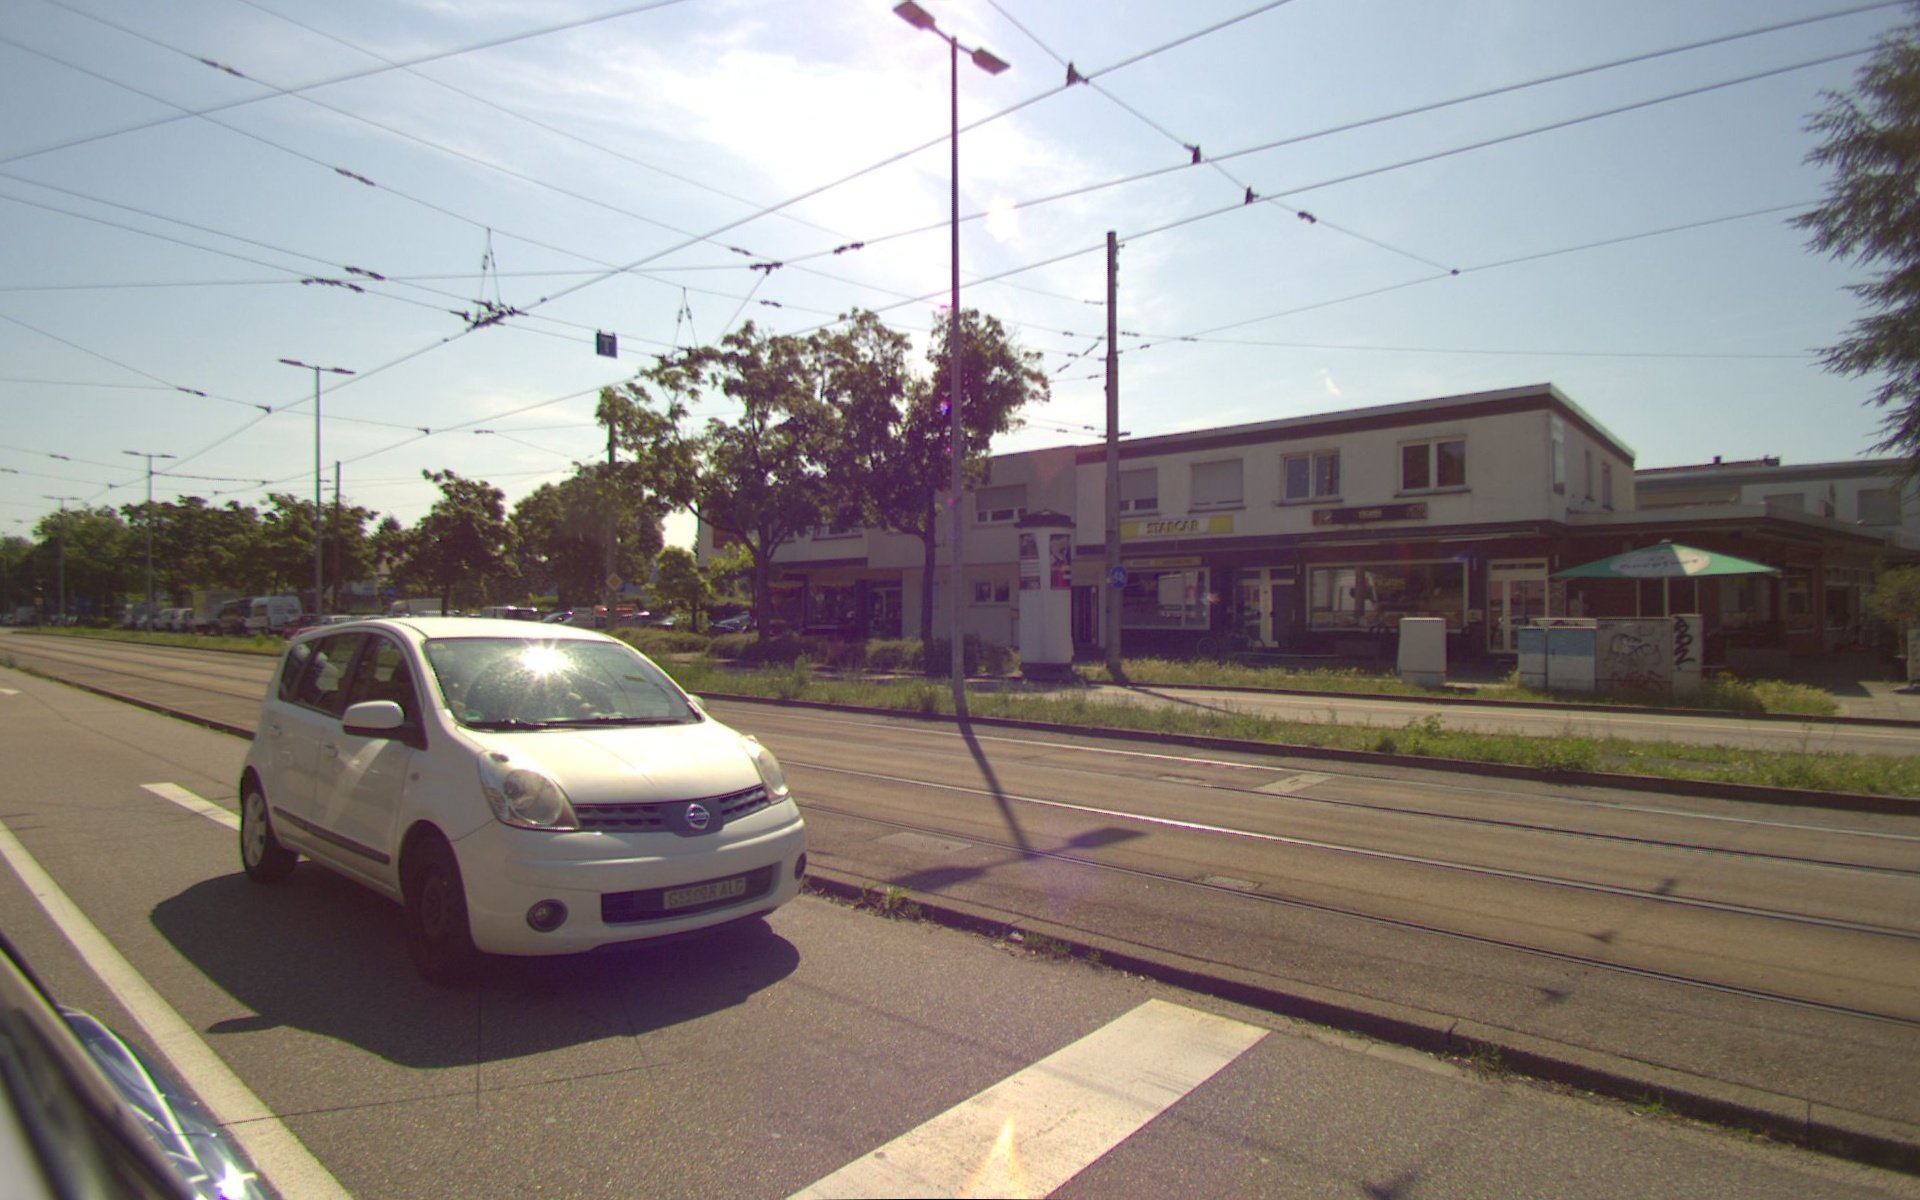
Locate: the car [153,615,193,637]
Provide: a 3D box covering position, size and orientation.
[{"bbox_3d":[-65.960,2.184,84.750,4.230,1.781,1.868,-1,-2,41],"label":"car"}]

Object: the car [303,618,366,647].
[{"bbox_3d":[-35.563,1.820,57.462,4.283,1.572,1.868,-1,-2,41],"label":"car"}]

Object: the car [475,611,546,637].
[{"bbox_3d":[-28.603,1.532,64.440,1.949,1.581,3.702,-1,-2,40],"label":"car"}]

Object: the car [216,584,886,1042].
[{"bbox_3d":[-2.449,0.790,5.514,4.066,1.573,1.747,-1,-3,42],"label":"car"}]

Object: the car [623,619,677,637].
[{"bbox_3d":[-23.742,2.143,77.604,1.711,1.372,3.579,-1,-2,40],"label":"car"}]

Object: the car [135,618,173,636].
[{"bbox_3d":[-70.483,2.327,88.507,4.230,1.572,1.868,-1,-2,41],"label":"car"}]

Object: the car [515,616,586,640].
[{"bbox_3d":[-24.659,1.674,61.032,1.711,1.372,3.579,-1,-2,40],"label":"car"}]

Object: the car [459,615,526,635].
[{"bbox_3d":[-30.401,1.633,65.911,1.711,1.294,3.579,-1,-2,40],"label":"car"}]

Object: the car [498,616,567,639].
[{"bbox_3d":[-26.591,1.703,62.991,1.711,1.372,3.579,-1,-2,40],"label":"car"}]

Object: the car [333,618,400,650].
[{"bbox_3d":[-31.491,1.774,53.645,4.285,1.506,1.868,-1,1,43],"label":"car"}]

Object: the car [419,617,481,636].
[{"bbox_3d":[-36.491,1.877,72.469,1.711,1.291,3.579,-1,-2,40],"label":"car"}]

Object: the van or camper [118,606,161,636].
[{"bbox_3d":[-75.341,1.915,92.900,5.450,2.639,2.086,-1,-3,42],"label":"van or camper"}]

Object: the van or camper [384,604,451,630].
[{"bbox_3d":[-58.953,1.869,109.971,2.299,2.751,6.000,-1,-2,43],"label":"van or camper"}]

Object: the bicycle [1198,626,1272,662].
[{"bbox_3d":[7.899,1.254,29.115,1.910,0.990,0.750,-1,-2,42],"label":"bicycle"}]

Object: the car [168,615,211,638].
[{"bbox_3d":[-60.918,2.091,79.980,4.230,1.747,1.868,-1,-2,41],"label":"car"}]

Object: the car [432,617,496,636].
[{"bbox_3d":[-34.340,1.833,70.074,1.811,1.291,3.579,-1,-2,40],"label":"car"}]

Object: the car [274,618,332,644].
[{"bbox_3d":[-39.579,1.829,60.940,4.230,1.506,1.868,-1,-2,41],"label":"car"}]

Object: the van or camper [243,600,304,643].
[{"bbox_3d":[-43.510,1.359,64.126,4.837,2.652,2.013,-1,-2,41],"label":"van or camper"}]

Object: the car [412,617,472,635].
[{"bbox_3d":[-37.834,1.898,73.953,1.711,1.291,3.579,-1,-2,40],"label":"car"}]

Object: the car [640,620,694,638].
[{"bbox_3d":[-21.920,2.161,75.749,1.711,1.372,3.579,-1,-2,40],"label":"car"}]

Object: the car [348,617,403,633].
[{"bbox_3d":[-48.306,2.023,83.710,1.711,1.291,3.579,-1,-2,40],"label":"car"}]

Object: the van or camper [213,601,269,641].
[{"bbox_3d":[-48.851,1.413,68.732,4.837,2.652,2.013,-1,-2,41],"label":"van or camper"}]

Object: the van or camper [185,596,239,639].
[{"bbox_3d":[-54.734,1.300,73.996,5.279,3.008,2.100,-1,-2,41],"label":"van or camper"}]

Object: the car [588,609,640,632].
[{"bbox_3d":[-27.635,1.618,80.826,1.711,1.791,3.579,-1,-2,40],"label":"car"}]
